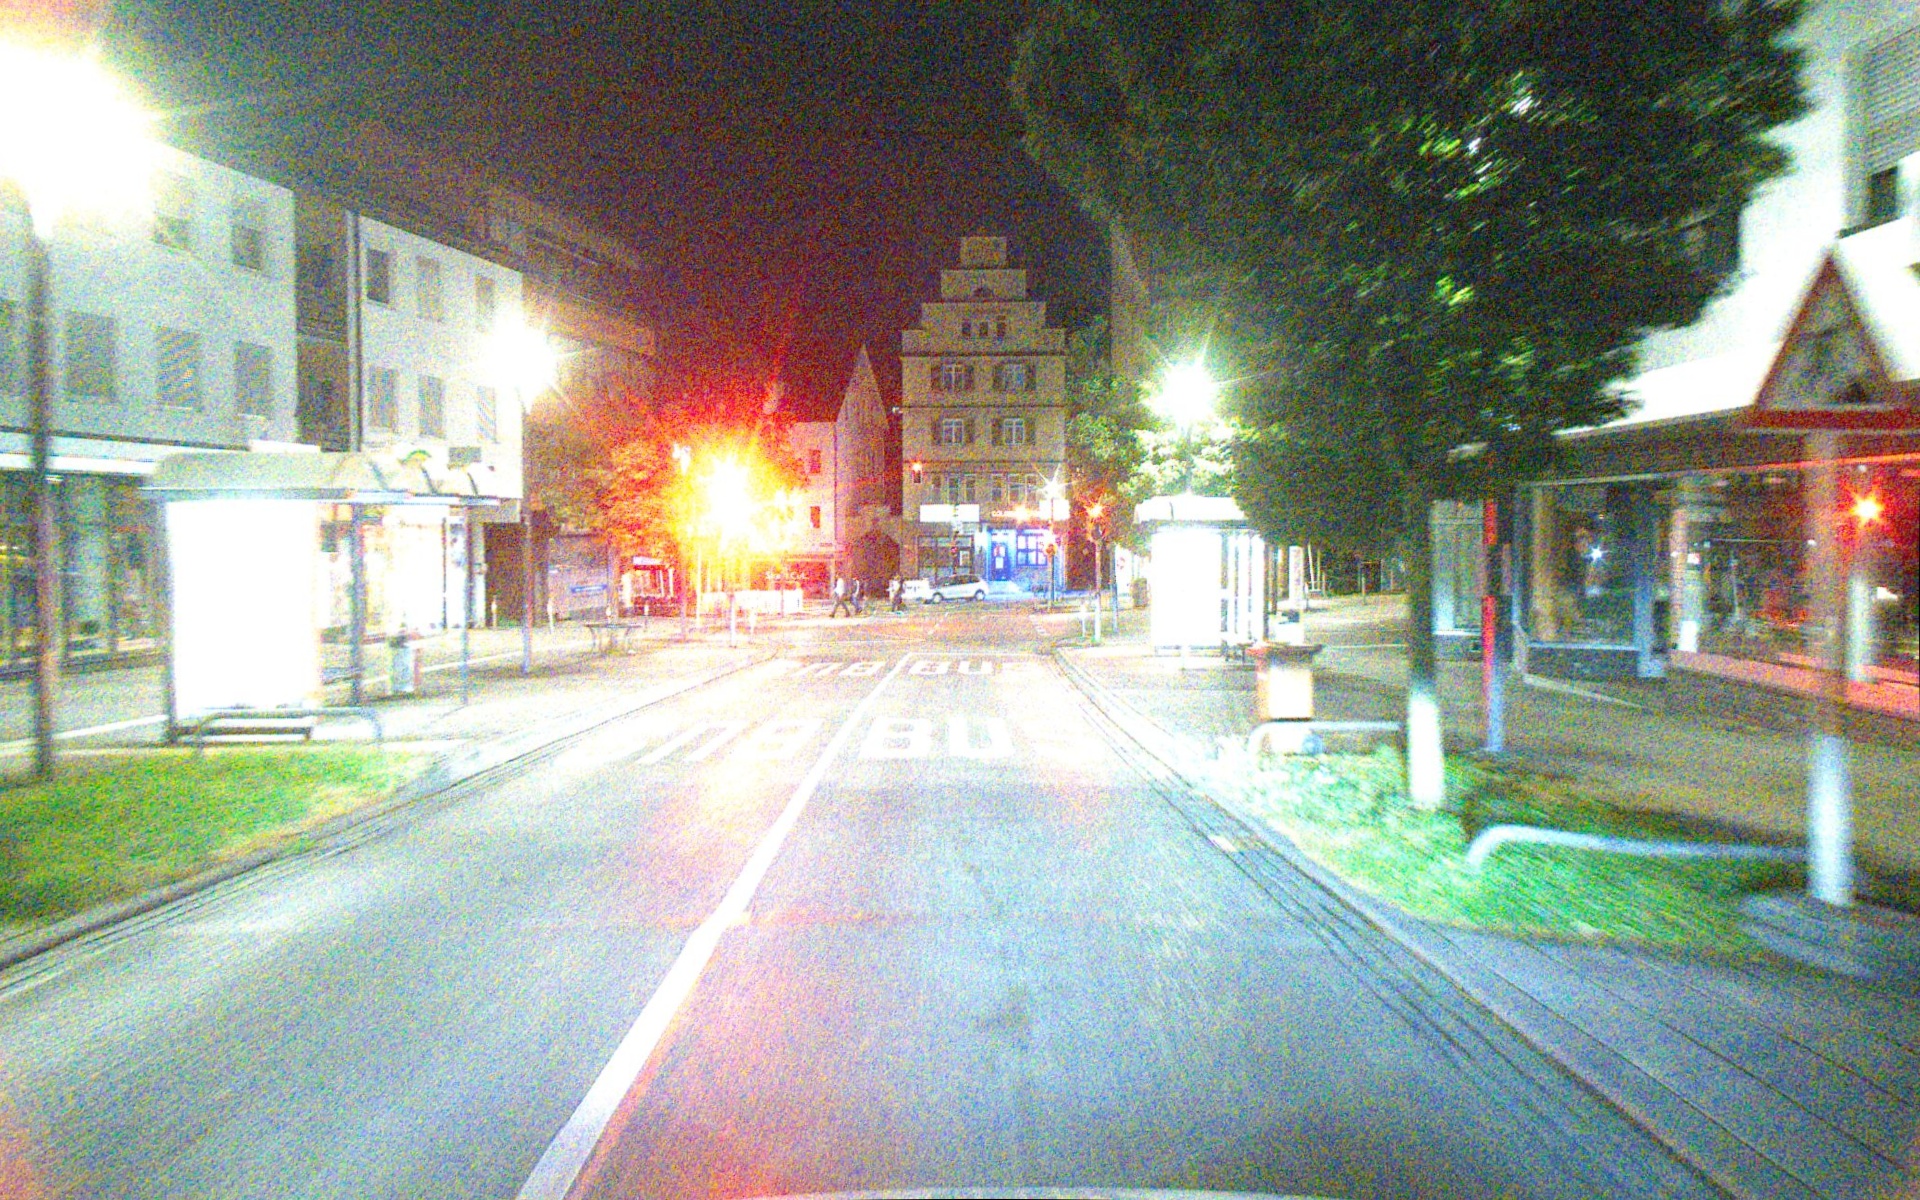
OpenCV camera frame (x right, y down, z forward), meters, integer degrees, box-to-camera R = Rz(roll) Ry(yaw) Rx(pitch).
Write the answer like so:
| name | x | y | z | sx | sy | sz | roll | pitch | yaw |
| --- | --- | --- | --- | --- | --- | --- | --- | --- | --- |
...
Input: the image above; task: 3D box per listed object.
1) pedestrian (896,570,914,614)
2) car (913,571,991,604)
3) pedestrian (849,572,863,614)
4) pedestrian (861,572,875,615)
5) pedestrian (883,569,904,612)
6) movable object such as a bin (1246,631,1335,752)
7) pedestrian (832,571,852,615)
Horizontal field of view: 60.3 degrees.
| name | x | y | z | sx | sy | sz | roll | pitch | yaw |
| --- | --- | --- | --- | --- | --- | --- | --- | --- | --- |
| pedestrian | -2.319 | -0.337 | 69.840 | 0.720 | 1.827 | 0.718 | 1 | -1 | -3 |
| car | -0.420 | -0.656 | 87.273 | 3.702 | 1.646 | 1.822 | 1 | -1 | -24 |
| pedestrian | -4.568 | -0.287 | 72.444 | 0.556 | 1.827 | 0.718 | 1 | -1 | -1 |
| pedestrian | -3.904 | -0.272 | 70.375 | 0.556 | 1.827 | 0.717 | 1 | -1 | -4 |
| pedestrian | -2.826 | -0.405 | 70.370 | 0.564 | 1.827 | 0.708 | 1 | -1 | -40 |
| movable object such as a bin | 2.679 | 0.734 | 13.437 | 0.514 | 0.953 | 0.628 | 1 | -1 | -10 |
| pedestrian | -4.936 | -0.276 | 69.342 | 0.700 | 1.827 | 0.570 | 0 | -1 | 8 |
